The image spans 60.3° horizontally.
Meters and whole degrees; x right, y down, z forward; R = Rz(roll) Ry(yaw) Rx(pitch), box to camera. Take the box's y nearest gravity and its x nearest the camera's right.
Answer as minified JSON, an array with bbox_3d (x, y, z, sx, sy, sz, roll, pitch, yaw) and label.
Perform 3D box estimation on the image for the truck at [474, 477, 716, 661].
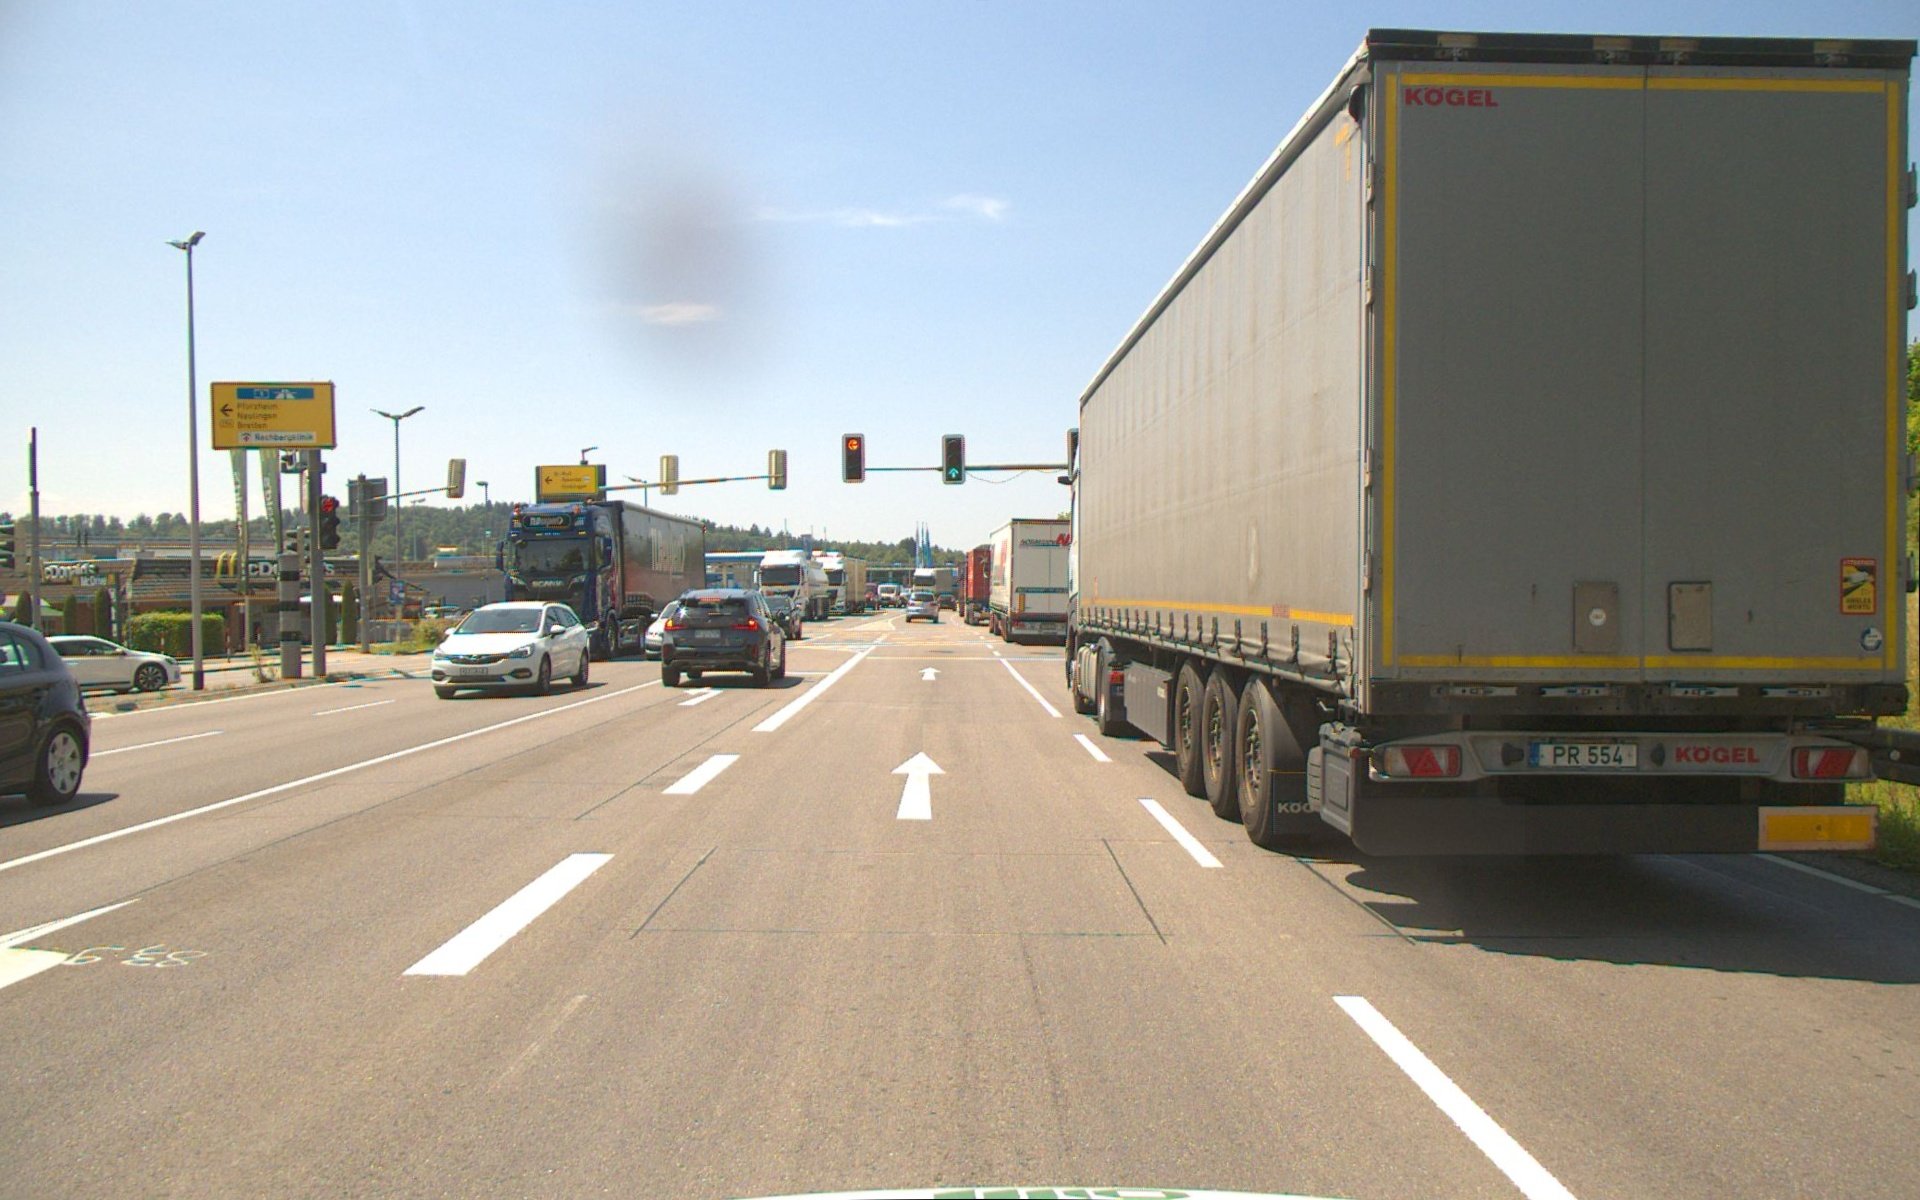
[{"bbox_3d":[-10.246,-0.806,49.328,3.081,4.425,17.543,-1,0,1],"label":"truck"}]

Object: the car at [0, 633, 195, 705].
[{"bbox_3d":[-19.444,1.503,36.838,1.757,1.506,3.992,-1,-1,40],"label":"car"}]

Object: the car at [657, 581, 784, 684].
[{"bbox_3d":[-4.179,0.536,29.418,1.757,1.655,4.367,-1,0,-2],"label":"car"}]

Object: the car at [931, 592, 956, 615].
[{"bbox_3d":[-1.471,0.308,147.847,1.952,2.049,4.001,-1,0,2],"label":"car"}]

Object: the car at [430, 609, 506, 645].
[{"bbox_3d":[-29.005,1.580,97.668,1.904,2.049,3.986,-1,0,35],"label":"car"}]

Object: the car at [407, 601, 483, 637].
[{"bbox_3d":[-30.787,1.139,98.901,1.904,2.049,3.986,-1,0,35],"label":"car"}]

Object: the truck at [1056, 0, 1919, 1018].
[{"bbox_3d":[2.939,-0.390,15.564,2.700,4.720,16.649,0,-1,-1],"label":"truck"}]

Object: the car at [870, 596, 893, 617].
[{"bbox_3d":[-7.672,0.646,161.475,1.865,2.049,4.001,0,-1,2],"label":"car"}]

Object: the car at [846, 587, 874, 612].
[{"bbox_3d":[-8.637,-0.001,142.957,1.952,2.049,4.001,0,-1,2],"label":"car"}]

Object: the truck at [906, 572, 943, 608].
[{"bbox_3d":[-4.240,-1.183,201.558,3.202,4.019,13.871,0,-1,4],"label":"truck"}]

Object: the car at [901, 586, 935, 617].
[{"bbox_3d":[-2.349,0.064,93.233,1.767,1.699,4.292,0,0,1],"label":"car"}]

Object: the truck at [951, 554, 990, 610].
[{"bbox_3d":[0.687,-1.202,119.086,2.555,3.782,9.446,0,-1,-1],"label":"truck"}]

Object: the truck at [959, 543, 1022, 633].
[{"bbox_3d":[1.550,-0.460,92.429,2.817,4.557,16.649,0,-1,-1],"label":"truck"}]

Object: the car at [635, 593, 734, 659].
[{"bbox_3d":[-6.913,0.615,41.962,1.774,1.535,4.945,-1,0,-1],"label":"car"}]

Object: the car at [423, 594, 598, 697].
[{"bbox_3d":[-7.457,0.747,27.872,1.705,1.530,4.405,-2,-1,0],"label":"car"}]

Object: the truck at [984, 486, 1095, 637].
[{"bbox_3d":[2.622,-1.047,60.146,2.817,4.720,16.649,0,-1,-1],"label":"truck"}]

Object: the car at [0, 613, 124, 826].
[{"bbox_3d":[-7.344,0.840,10.872,1.628,1.428,4.016,-1,0,0],"label":"car"}]

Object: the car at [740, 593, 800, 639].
[{"bbox_3d":[-6.654,0.532,58.295,1.630,1.535,3.904,-1,0,0],"label":"car"}]

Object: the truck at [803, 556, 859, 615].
[{"bbox_3d":[-9.314,-0.995,120.923,2.874,4.019,13.865,-1,0,1],"label":"truck"}]

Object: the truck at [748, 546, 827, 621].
[{"bbox_3d":[-9.847,-0.893,96.049,2.874,4.019,14.238,-1,0,1],"label":"truck"}]
